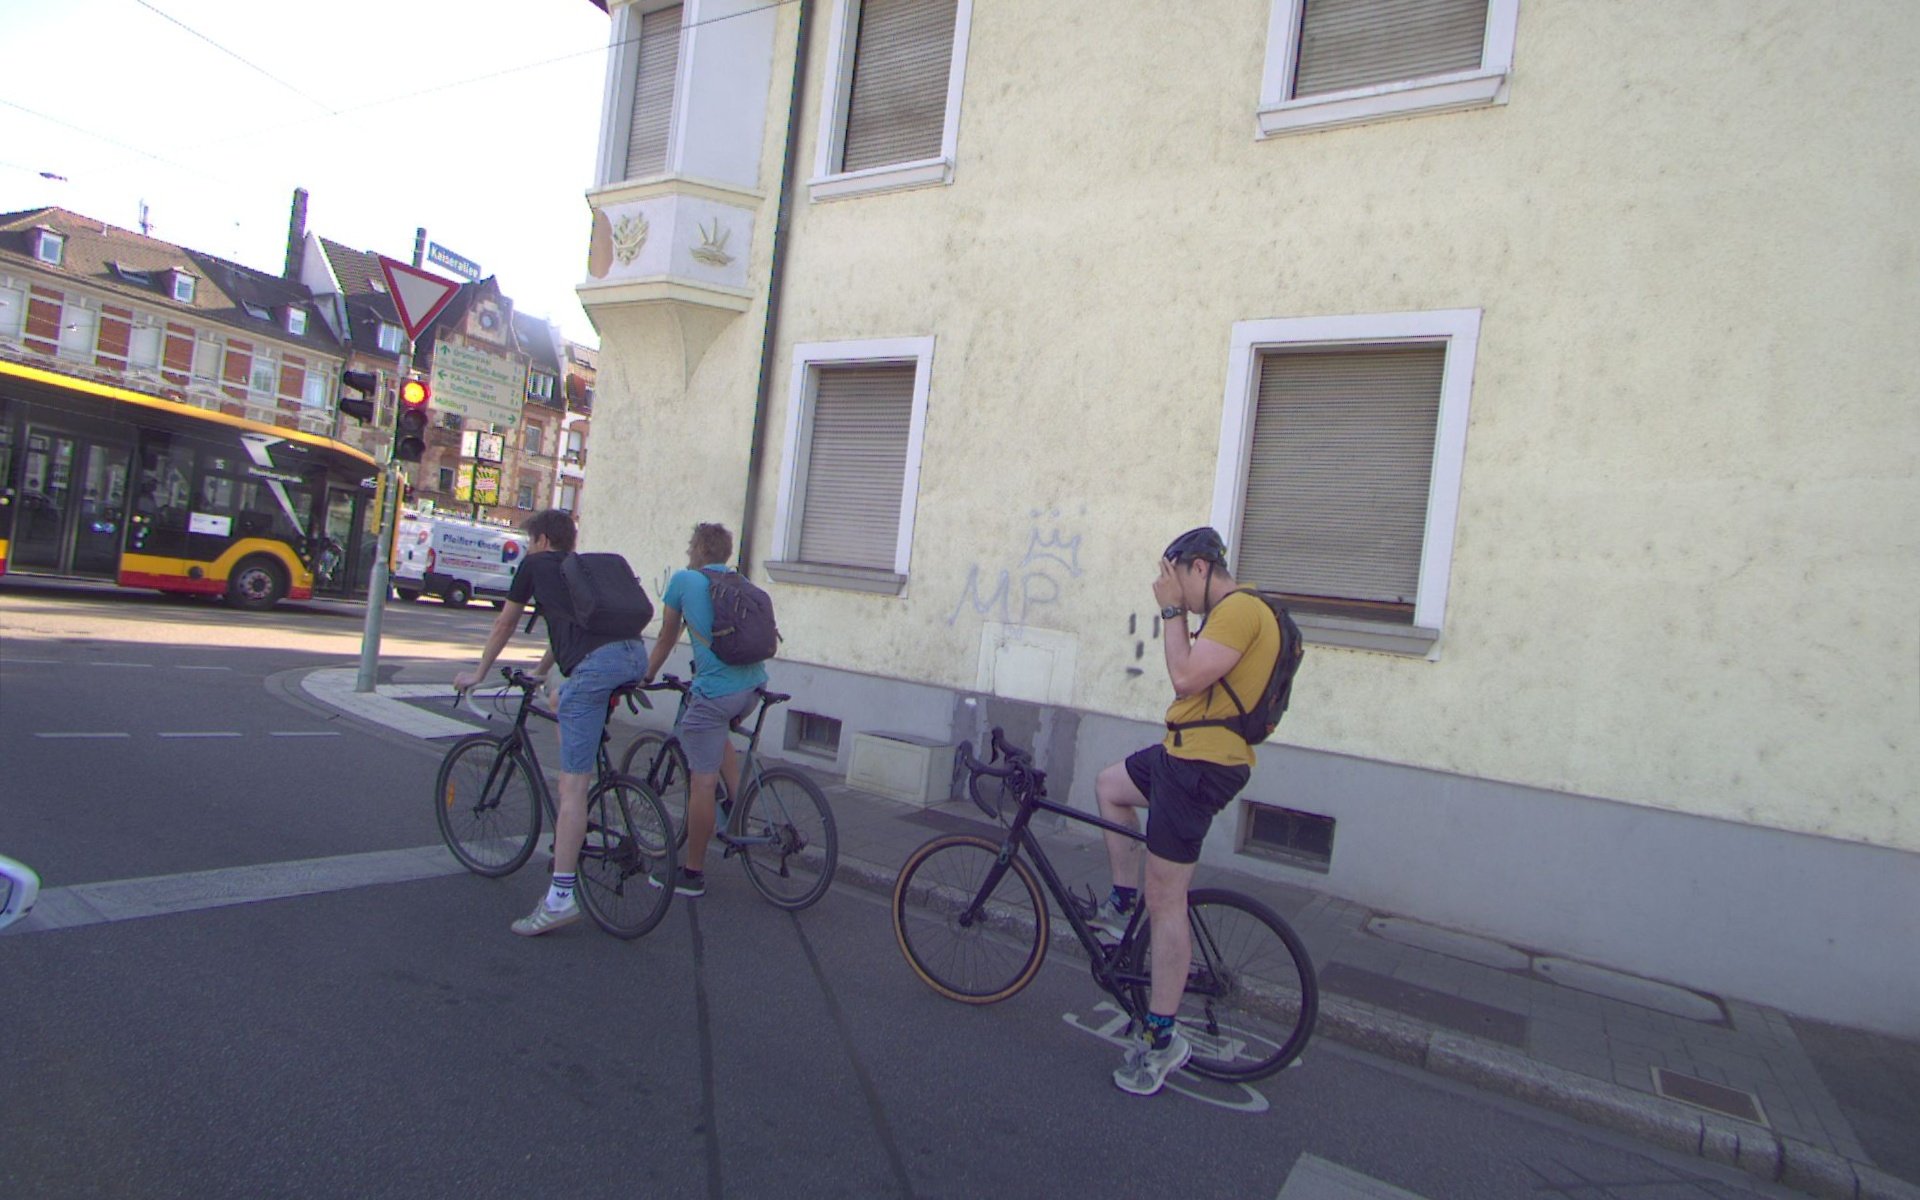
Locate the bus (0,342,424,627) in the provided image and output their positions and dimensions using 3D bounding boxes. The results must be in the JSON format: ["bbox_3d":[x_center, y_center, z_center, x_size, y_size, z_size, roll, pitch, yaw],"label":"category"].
[{"bbox_3d":[-13.863,-1.797,15.984,2.729,3.497,9.445,8,-2,24],"label":"bus"}]

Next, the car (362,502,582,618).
[{"bbox_3d":[-13.213,-0.983,27.690,2.043,2.461,5.128,7,-1,24],"label":"car"}]

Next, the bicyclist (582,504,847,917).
[{"bbox_3d":[-1.284,0.523,5.271,0.978,1.910,0.652,7,0,32],"label":"bicyclist"}]

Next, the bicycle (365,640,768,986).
[{"bbox_3d":[-1.797,0.834,4.468,1.858,1.071,0.571,7,0,32],"label":"bicycle"}]

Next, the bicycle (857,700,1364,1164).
[{"bbox_3d":[0.515,1.089,3.773,1.670,1.180,0.571,7,0,32],"label":"bicycle"}]

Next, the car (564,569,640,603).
[{"bbox_3d":[-23.168,-0.888,65.231,1.966,1.641,4.261,7,-1,29],"label":"car"}]

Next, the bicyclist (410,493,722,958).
[{"bbox_3d":[-1.748,0.490,4.470,0.978,1.788,0.652,7,0,32],"label":"bicyclist"}]

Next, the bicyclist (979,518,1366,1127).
[{"bbox_3d":[0.774,0.695,3.656,1.019,1.839,0.652,7,0,32],"label":"bicyclist"}]

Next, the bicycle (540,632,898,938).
[{"bbox_3d":[-1.307,0.876,5.280,1.858,1.180,0.571,7,0,32],"label":"bicycle"}]
